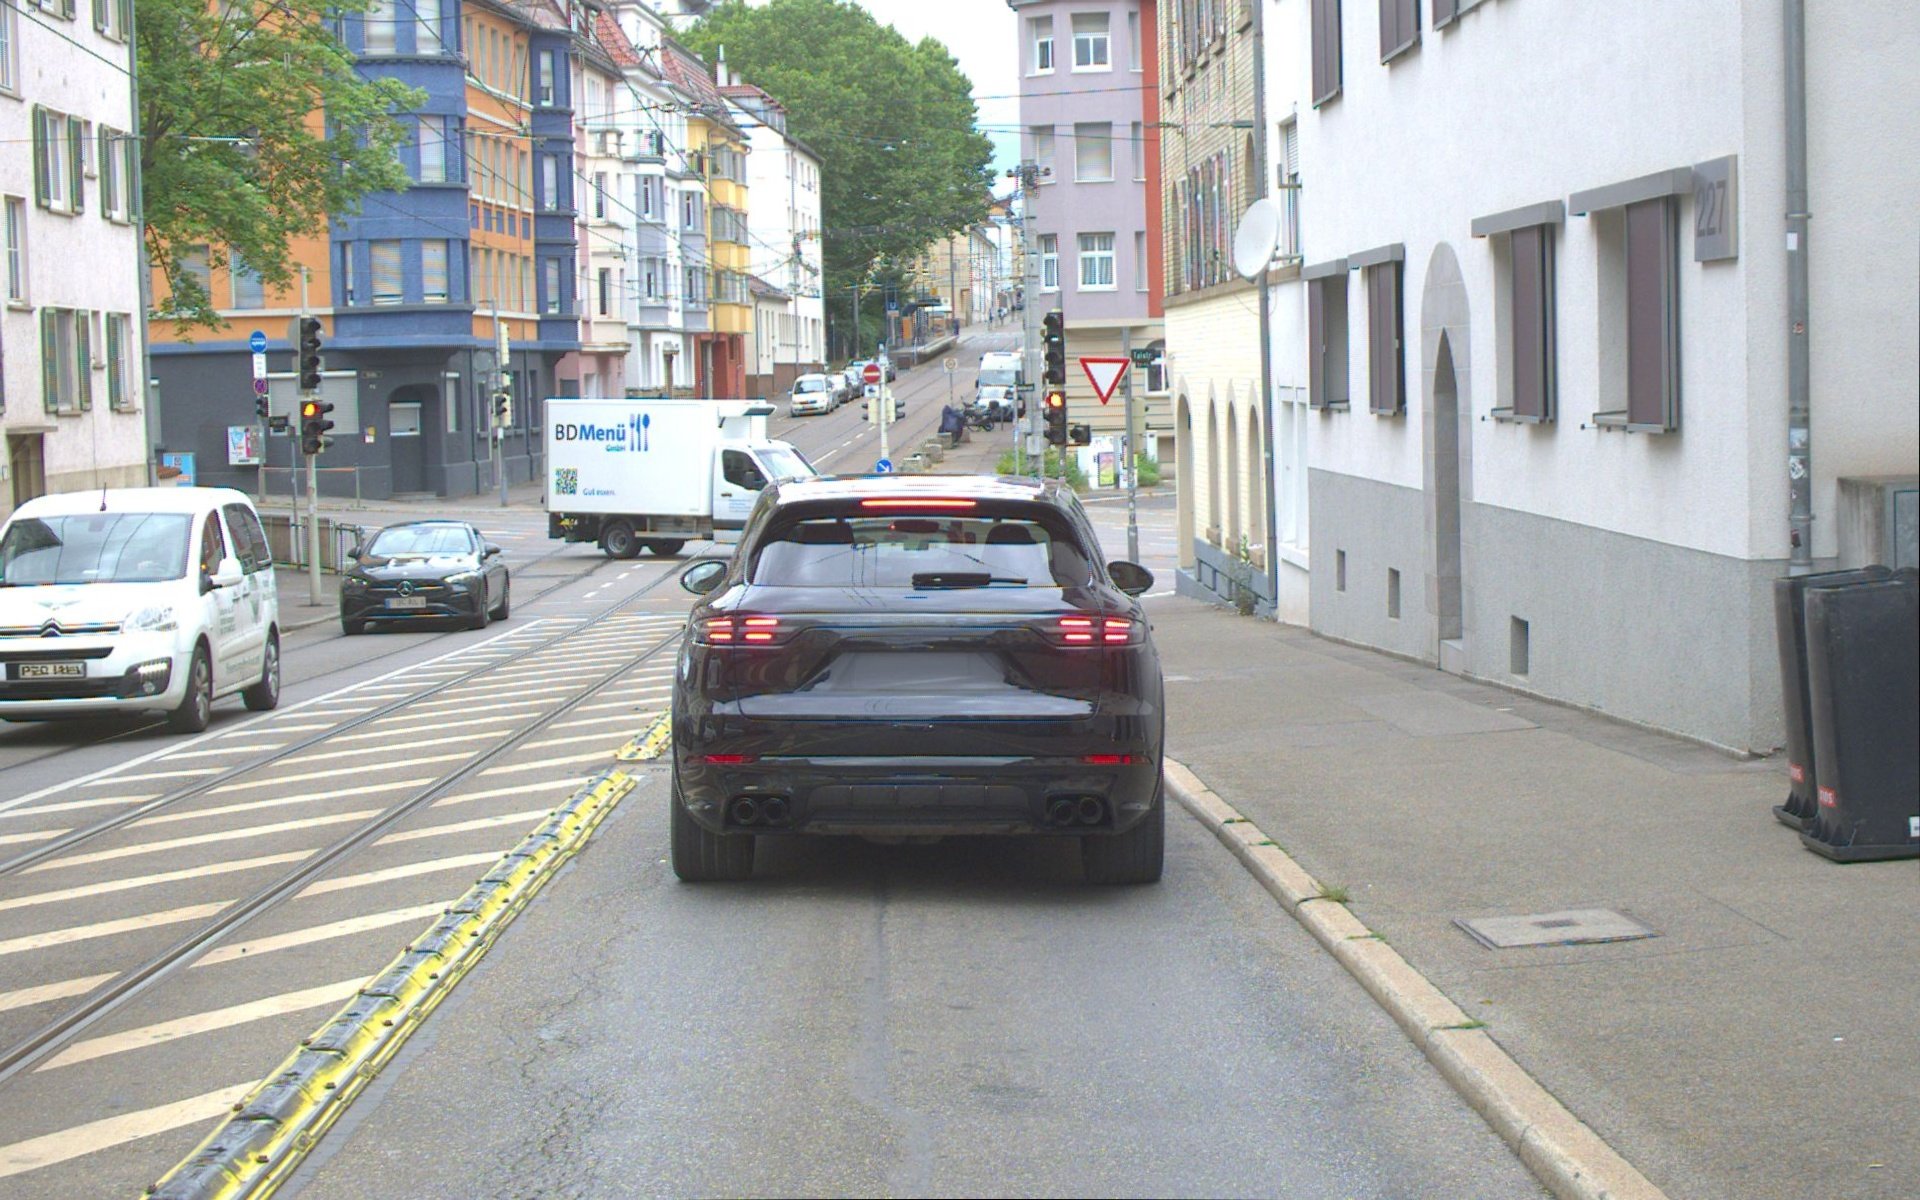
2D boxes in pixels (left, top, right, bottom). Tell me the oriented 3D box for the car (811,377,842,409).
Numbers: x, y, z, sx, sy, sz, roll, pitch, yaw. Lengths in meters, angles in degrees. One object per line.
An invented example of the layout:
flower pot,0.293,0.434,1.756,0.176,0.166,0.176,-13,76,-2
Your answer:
car,-6.626,-10.285,170.865,1.394,1.445,3.359,-1,2,0

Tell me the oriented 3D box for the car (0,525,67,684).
car,-9.884,0.049,33.114,1.620,1.485,4.048,-2,1,-2

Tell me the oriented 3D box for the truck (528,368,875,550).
truck,-5.044,-2.713,66.901,6.390,3.359,2.344,0,2,27

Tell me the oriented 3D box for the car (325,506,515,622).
car,-7.145,-0.518,45.884,1.921,1.419,4.499,-1,2,-2

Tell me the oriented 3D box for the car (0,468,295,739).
car,-6.305,-0.042,25.391,1.921,1.812,4.218,-1,2,0

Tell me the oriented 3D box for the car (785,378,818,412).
car,-7.266,-9.392,157.756,1.394,1.445,3.359,-1,2,0

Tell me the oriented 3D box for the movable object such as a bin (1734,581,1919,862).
movable object such as a bin,3.460,0.474,13.725,0.611,1.076,0.541,-1,2,1

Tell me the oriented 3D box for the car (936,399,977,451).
car,-0.122,-6.114,120.305,1.394,1.716,3.359,-1,2,0

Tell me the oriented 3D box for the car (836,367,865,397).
car,-5.771,-11.460,180.927,1.394,1.445,3.359,-1,2,0

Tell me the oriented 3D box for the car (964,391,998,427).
car,0.878,-8.082,145.465,1.394,1.445,3.359,-1,2,0

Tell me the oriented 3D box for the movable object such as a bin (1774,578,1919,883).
movable object such as a bin,3.401,0.470,12.763,0.588,1.076,0.692,-1,2,1

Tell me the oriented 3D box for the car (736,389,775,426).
car,-8.425,-7.933,141.735,1.394,1.445,3.359,-1,2,0

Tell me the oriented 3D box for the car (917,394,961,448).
car,-0.685,-5.893,113.493,1.394,1.716,3.359,-1,2,0

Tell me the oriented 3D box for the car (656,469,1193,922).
car,-0.180,0.293,14.942,1.993,1.670,4.001,-1,2,-1
